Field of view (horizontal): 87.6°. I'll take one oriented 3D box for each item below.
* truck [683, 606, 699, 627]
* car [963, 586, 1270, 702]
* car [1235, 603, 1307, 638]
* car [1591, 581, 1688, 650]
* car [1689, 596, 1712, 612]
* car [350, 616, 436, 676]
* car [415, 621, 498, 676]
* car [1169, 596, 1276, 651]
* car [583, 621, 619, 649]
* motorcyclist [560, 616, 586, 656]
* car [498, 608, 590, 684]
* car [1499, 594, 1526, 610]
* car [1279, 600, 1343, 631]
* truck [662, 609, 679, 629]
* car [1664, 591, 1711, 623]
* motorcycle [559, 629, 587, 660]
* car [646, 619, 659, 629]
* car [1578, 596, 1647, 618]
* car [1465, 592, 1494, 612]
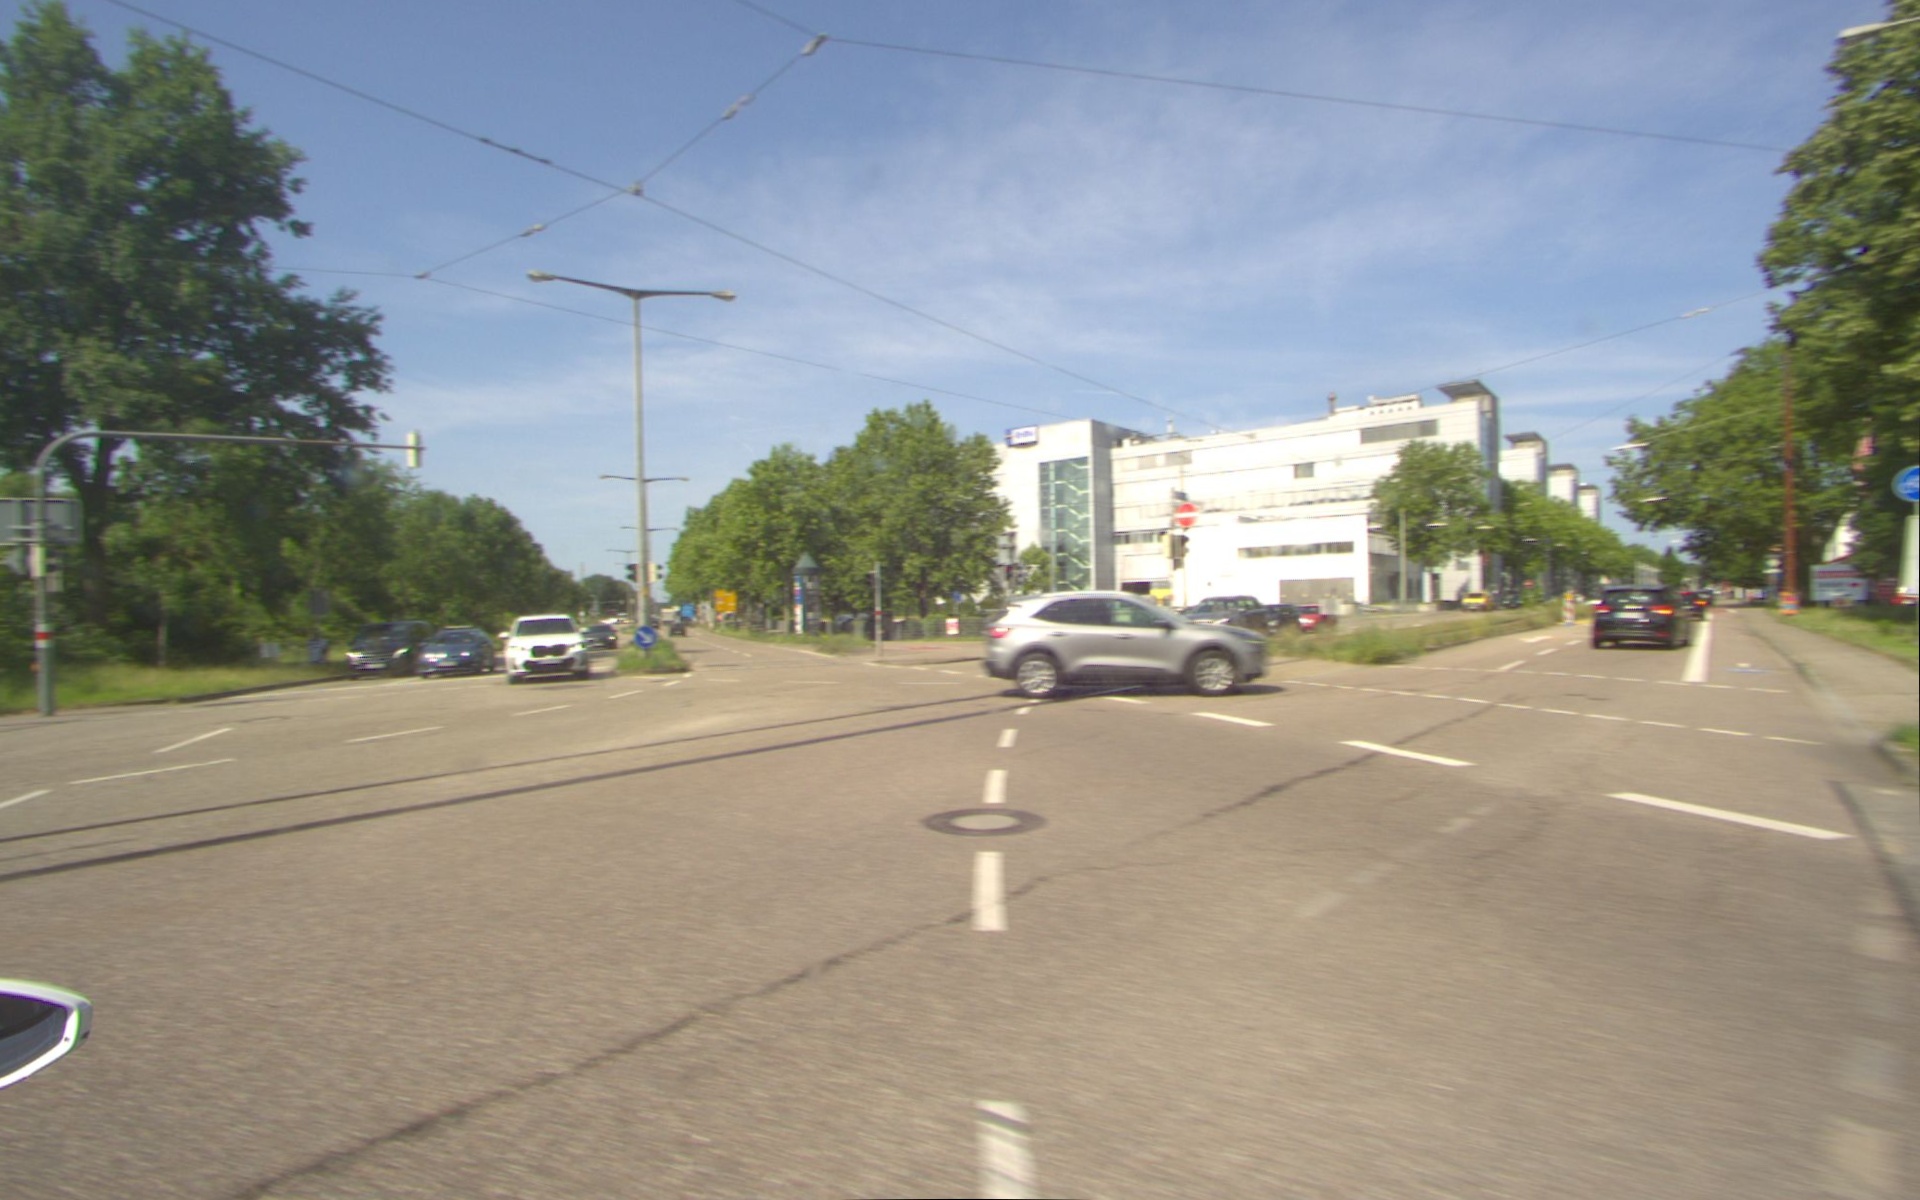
[{"bbox_3d":[-59.263,3.639,220.539,3.143,4.412,13.131,-1,-1,-14],"label":"truck"},{"bbox_3d":[2.451,0.691,16.189,4.566,1.672,1.997,-1,0,7],"label":"car"},{"bbox_3d":[14.156,0.899,45.423,1.759,1.462,4.596,-2,-1,36],"label":"car"},{"bbox_3d":[17.686,0.385,25.985,1.792,1.626,4.346,-2,-1,38],"label":"car"},{"bbox_3d":[76.025,0.422,102.741,1.828,1.530,4.314,-2,-1,37],"label":"car"},{"bbox_3d":[-19.043,1.493,33.790,1.824,1.838,3.991,-1,-1,-20],"label":"car"},{"bbox_3d":[-15.901,1.494,31.818,1.824,1.582,3.991,-1,-1,-20],"label":"car"},{"bbox_3d":[8.816,0.740,33.317,1.891,1.711,4.596,-2,-1,36],"label":"car"},{"bbox_3d":[-20.437,1.974,57.144,1.689,1.397,4.464,-3,0,-17],"label":"car"},{"bbox_3d":[-14.542,1.355,37.635,0.724,1.465,0.872,-3,0,-15],"label":"motorcyclist"},{"bbox_3d":[-10.549,1.114,25.655,1.883,1.711,4.616,-1,-1,-19],"label":"car"},{"bbox_3d":[59.863,0.188,108.526,1.892,1.711,4.594,-2,-1,37],"label":"car"},{"bbox_3d":[17.536,0.753,49.899,1.759,1.462,4.596,-2,-1,36],"label":"car"},{"bbox_3d":[-56.329,3.735,195.260,2.798,3.624,8.709,-1,-1,-14],"label":"truck"},{"bbox_3d":[36.880,0.343,50.781,1.827,1.530,4.365,-2,-1,36],"label":"car"},{"bbox_3d":[-14.522,1.664,37.607,0.724,1.097,2.041,-3,-1,-14],"label":"motorcycle"},{"bbox_3d":[-45.283,3.489,147.661,1.723,1.362,4.371,-1,-1,-17],"label":"car"},{"bbox_3d":[52.519,0.564,80.706,4.563,1.711,1.905,-2,-1,34],"label":"car"},{"bbox_3d":[48.460,0.197,93.339,1.759,1.833,4.596,-2,-1,36],"label":"car"}]
